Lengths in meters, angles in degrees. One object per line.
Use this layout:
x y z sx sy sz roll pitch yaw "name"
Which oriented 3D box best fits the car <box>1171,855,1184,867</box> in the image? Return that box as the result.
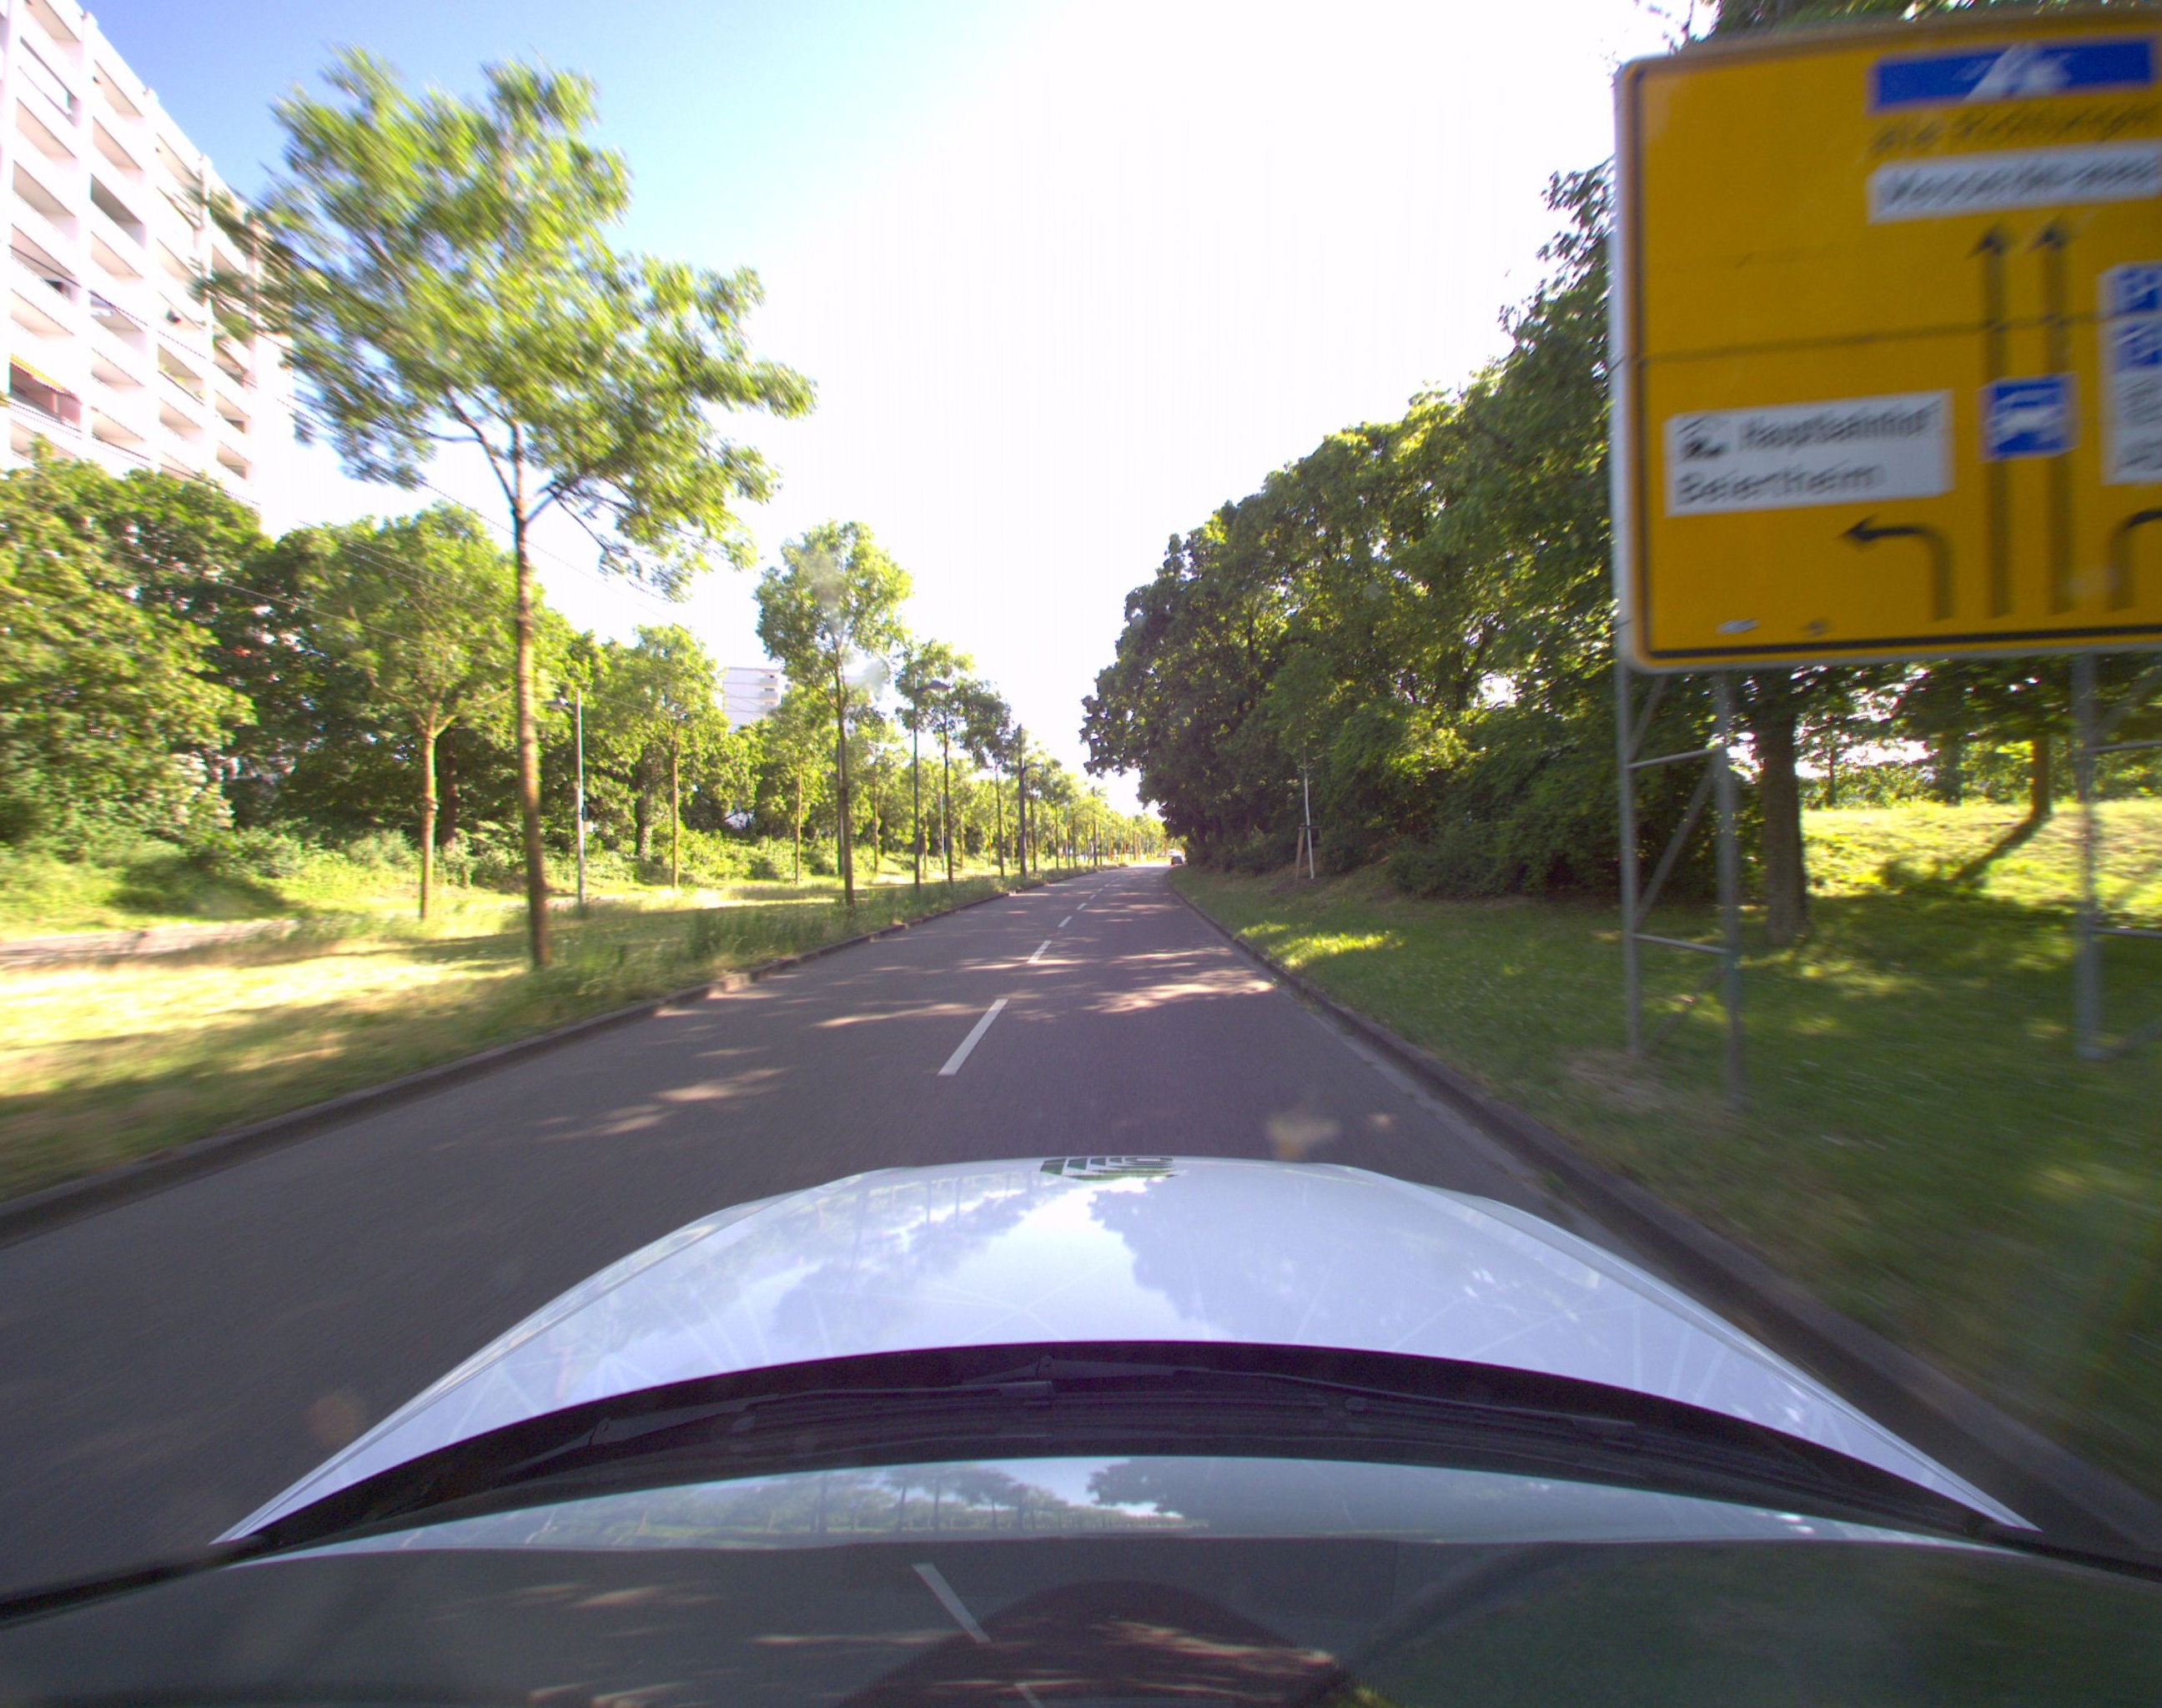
13.219 0.937 111.363 1.624 1.498 4.245 -1 0 9 "car"
